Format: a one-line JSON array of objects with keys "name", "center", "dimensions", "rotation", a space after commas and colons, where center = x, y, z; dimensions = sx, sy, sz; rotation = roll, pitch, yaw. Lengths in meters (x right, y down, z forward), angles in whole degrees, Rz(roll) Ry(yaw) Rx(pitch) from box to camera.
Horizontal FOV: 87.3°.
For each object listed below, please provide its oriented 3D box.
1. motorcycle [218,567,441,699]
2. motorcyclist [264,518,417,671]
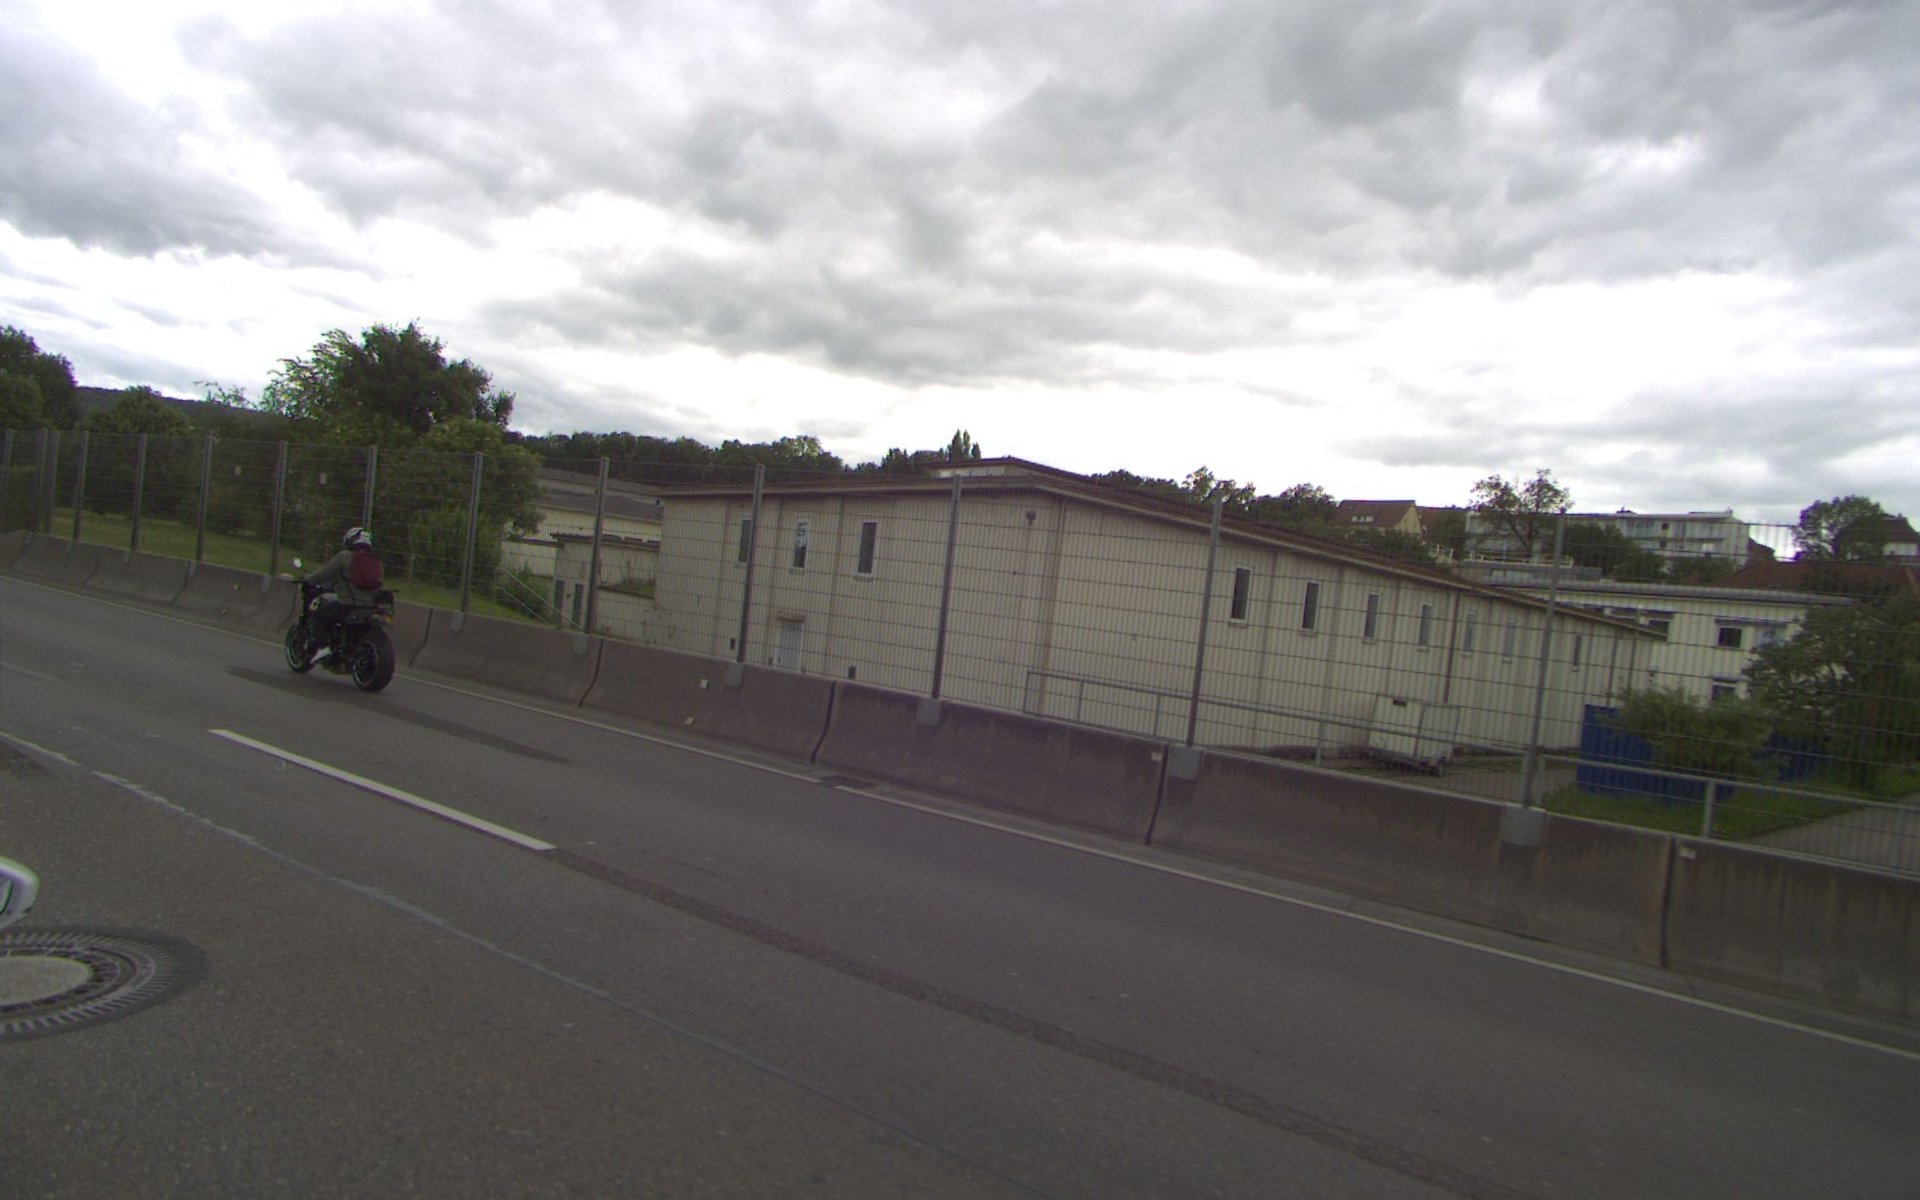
[{"name": "motorcycle", "center": [-6.897, 0.335, 10.963], "dimensions": [2.618, 1.097, 0.745], "rotation": [7, 0, 27]}, {"name": "motorcyclist", "center": [-6.679, -0.046, 10.876], "dimensions": [0.950, 1.495, 0.915], "rotation": [7, 0, 26]}]
